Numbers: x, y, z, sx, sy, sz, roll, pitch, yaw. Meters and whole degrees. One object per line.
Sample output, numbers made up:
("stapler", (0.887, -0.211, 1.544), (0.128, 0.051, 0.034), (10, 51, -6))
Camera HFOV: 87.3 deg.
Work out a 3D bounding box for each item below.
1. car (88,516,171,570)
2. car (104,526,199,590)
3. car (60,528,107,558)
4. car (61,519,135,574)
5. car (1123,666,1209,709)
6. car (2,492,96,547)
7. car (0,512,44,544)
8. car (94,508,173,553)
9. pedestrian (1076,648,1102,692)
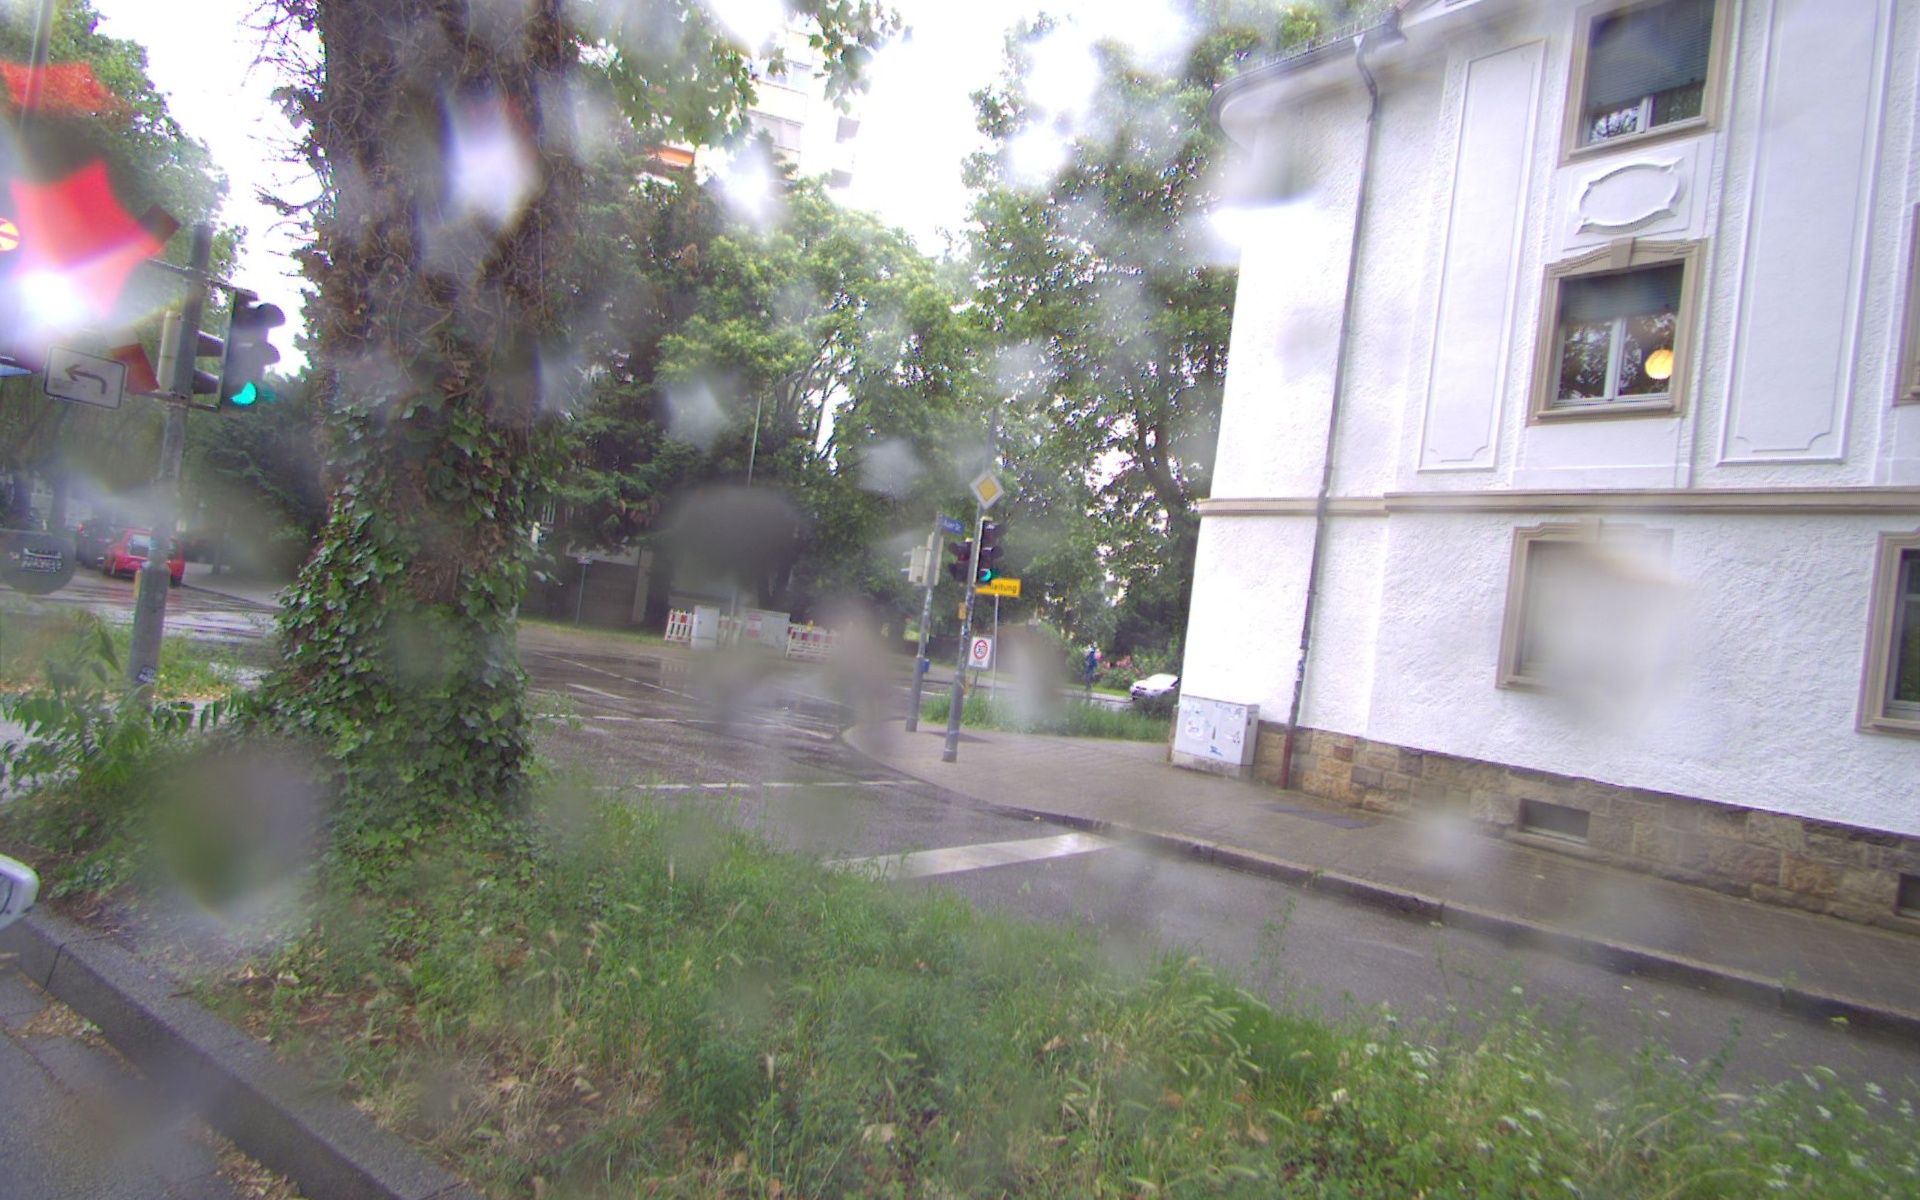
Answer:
("car", (-28.100, -1.941, 34.002), (1.780, 1.363, 3.879), (10, -2, -44))
("car", (-24.833, -1.313, 30.845), (1.788, 1.515, 3.950), (10, -2, -44))
("car", (-51.687, -3.372, 59.369), (1.673, 1.491, 3.627), (9, -2, -37))
("car", (-32.985, -2.082, 38.457), (1.779, 1.747, 3.951), (9, -2, -44))
("car", (9.409, 4.001, 45.807), (1.829, 1.473, 3.979), (6, -3, 45))
("car", (-61.112, -5.397, 67.535), (4.680, 2.982, 2.043), (7, -1, 12))
("car", (-56.206, -4.383, 58.631), (1.974, 1.565, 3.980), (6, -3, 44))
("car", (-69.650, -5.847, 84.816), (4.683, 2.982, 2.001), (7, -1, 1))
("pedestrian", (5.776, 3.135, 44.974), (0.670, 1.863, 0.713), (6, -1, 44))
